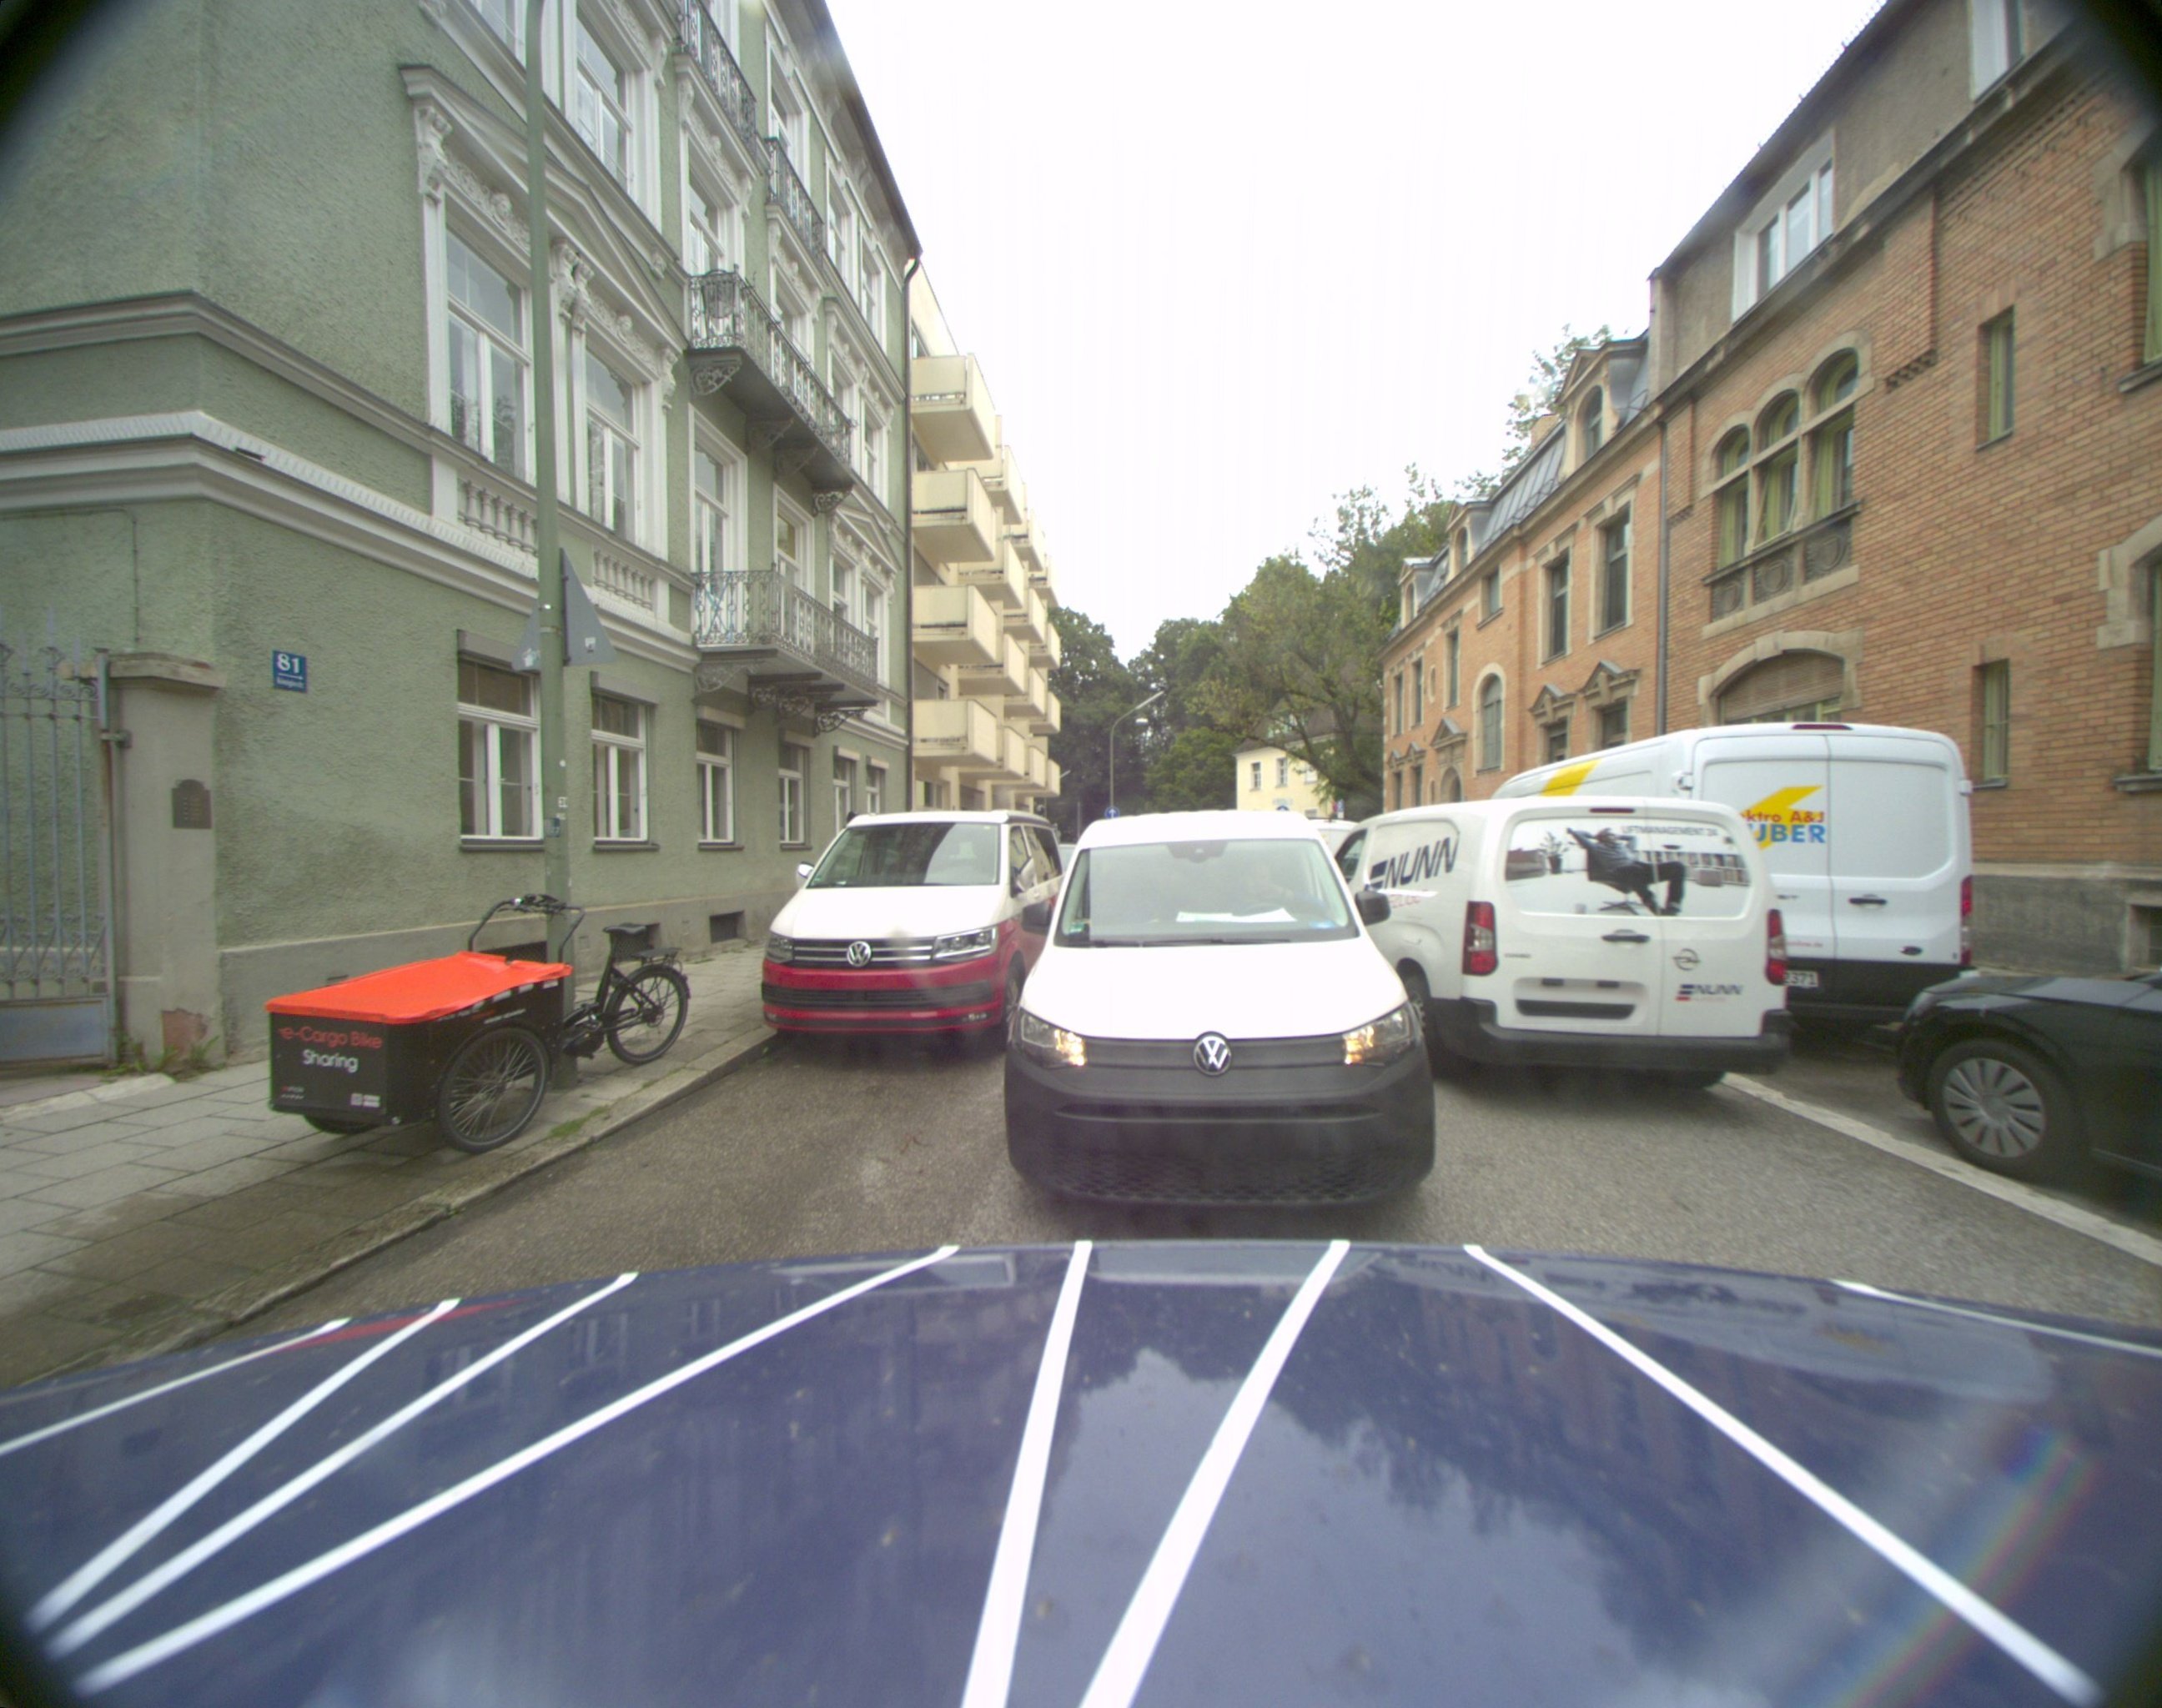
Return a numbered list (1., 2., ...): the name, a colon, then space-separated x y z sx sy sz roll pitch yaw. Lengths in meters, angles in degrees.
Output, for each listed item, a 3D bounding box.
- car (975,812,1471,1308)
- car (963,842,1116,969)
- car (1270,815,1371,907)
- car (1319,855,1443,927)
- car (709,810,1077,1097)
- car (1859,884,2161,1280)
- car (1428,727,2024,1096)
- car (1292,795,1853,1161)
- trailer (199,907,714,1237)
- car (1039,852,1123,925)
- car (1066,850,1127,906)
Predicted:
1. car: 0.738 0.713 4.800 1.775 1.762 4.002 1 1 7
2. car: -0.494 0.730 12.989 1.831 1.747 4.555 -2 0 6
3. car: 7.345 0.195 23.795 2.117 2.525 4.423 3 1 7
4. car: 6.961 0.782 18.058 1.693 1.434 3.985 2 1 6
5. car: -1.301 0.670 7.399 1.857 1.885 4.594 -3 0 7
6. car: 4.867 0.924 1.965 1.693 1.434 4.146 1 1 6
7. car: 5.527 0.338 7.770 1.985 2.464 5.225 1 1 6
8. car: 3.067 0.584 6.091 1.775 1.793 4.573 1 1 4
9. trailer: -3.273 1.010 4.375 0.943 1.177 2.166 3 2 11
10. car: 0.113 0.735 18.259 1.550 1.488 3.979 -2 0 6
11. car: 0.582 0.705 24.276 1.550 1.562 3.979 -2 0 6
